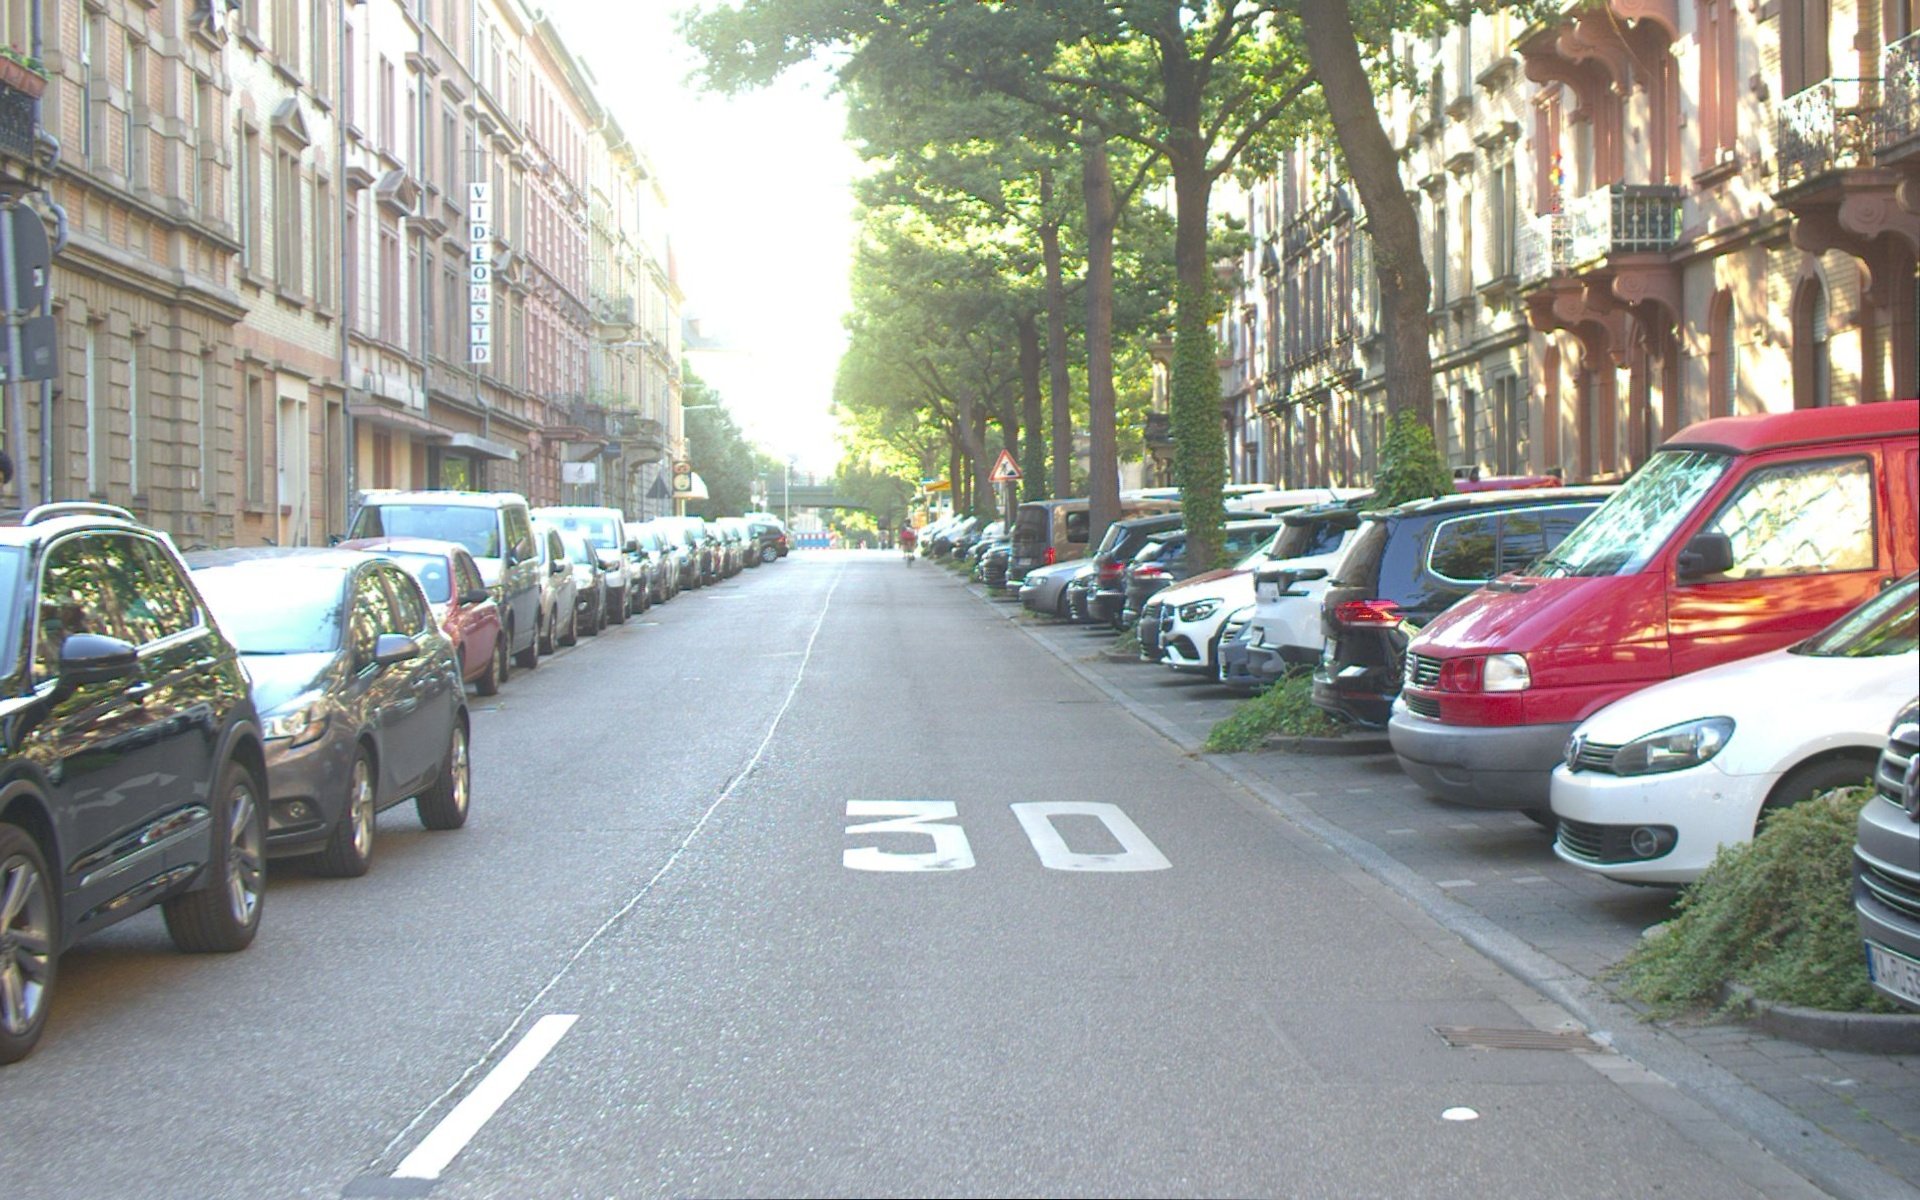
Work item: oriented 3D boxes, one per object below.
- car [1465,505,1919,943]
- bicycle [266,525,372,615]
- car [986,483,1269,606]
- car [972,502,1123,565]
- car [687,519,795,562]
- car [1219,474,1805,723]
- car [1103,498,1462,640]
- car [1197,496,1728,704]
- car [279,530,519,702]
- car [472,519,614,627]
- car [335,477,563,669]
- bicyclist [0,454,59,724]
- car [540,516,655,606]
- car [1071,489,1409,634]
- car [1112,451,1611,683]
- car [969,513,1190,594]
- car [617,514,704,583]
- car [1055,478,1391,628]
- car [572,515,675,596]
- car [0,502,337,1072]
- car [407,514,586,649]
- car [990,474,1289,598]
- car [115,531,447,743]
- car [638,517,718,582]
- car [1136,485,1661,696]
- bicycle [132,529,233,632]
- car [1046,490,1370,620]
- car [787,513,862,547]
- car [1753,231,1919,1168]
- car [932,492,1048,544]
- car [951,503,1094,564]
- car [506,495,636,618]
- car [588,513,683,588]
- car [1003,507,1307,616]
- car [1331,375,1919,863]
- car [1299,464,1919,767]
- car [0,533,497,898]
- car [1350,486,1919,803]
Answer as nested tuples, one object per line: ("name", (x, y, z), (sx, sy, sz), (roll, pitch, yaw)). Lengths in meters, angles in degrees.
("car", (4.169, 0.368, 13.310), (4.054, 1.505, 1.879), (-3, 1, -2))
("bicycle", (-9.787, -0.486, 52.659), (1.041, 1.314, 4.001), (0, 2, -2))
("car", (2.760, -0.930, 56.803), (4.220, 1.788, 1.835), (-3, 2, -21))
("car", (2.417, -1.852, 95.449), (3.849, 1.568, 1.718), (-3, 2, -9))
("car", (-7.948, -2.162, 125.160), (1.997, 1.481, 3.993), (-1, 0, 31))
("car", (4.098, -0.027, 25.944), (4.010, 1.622, 1.805), (-3, 1, -3))
("car", (3.793, -0.376, 40.898), (4.010, 1.462, 1.734), (-3, 1, -2))
("car", (4.087, -0.017, 28.398), (4.010, 1.429, 1.795), (-3, 1, -2))
("car", (-5.176, 0.108, 32.088), (1.592, 1.470, 3.699), (1, 1, 0))
("car", (-6.028, -0.423, 50.076), (1.758, 1.462, 4.001), (1, 1, -3))
("car", (-5.526, -0.338, 37.749), (1.832, 1.936, 5.261), (1, 1, -2))
("bicyclist", (-6.842, -0.063, 22.945), (0.997, 1.783, 1.206), (-1, 2, 28))
("car", (-6.282, -0.715, 59.959), (1.758, 1.468, 4.060), (-1, 2, -3))
("car", (3.487, -0.491, 43.275), (4.010, 1.601, 1.734), (-3, 1, -2))
("car", (3.840, -0.357, 33.324), (4.443, 1.917, 1.850), (-4, 3, -4))
("car", (2.186, -0.865, 63.415), (3.849, 1.289, 1.718), (-3, 2, -5))
("car", (-6.698, -1.173, 77.174), (1.758, 1.468, 4.060), (-1, 2, -3))
("car", (3.491, -0.646, 46.122), (4.220, 1.770, 1.835), (-3, 2, -2))
("car", (-6.431, -0.877, 66.058), (1.758, 1.468, 4.060), (-1, 2, -3))
("car", (-3.497, 0.497, 11.484), (1.758, 1.594, 4.550), (-1, 1, 3))
("car", (-5.808, -0.275, 43.522), (1.753, 1.603, 4.384), (1, 1, -1))
("car", (3.130, -1.137, 60.568), (5.056, 1.918, 1.835), (-3, 2, -1))
("car", (-5.325, 0.232, 27.465), (1.758, 1.496, 4.060), (-2, 1, 1))
("car", (-6.698, -1.227, 81.946), (1.758, 1.468, 4.060), (-1, 2, -3))
("car", (3.861, -0.115, 30.765), (4.344, 1.551, 1.850), (-3, 3, -2))
("bicycle", (-9.846, -0.270, 43.635), (0.740, 1.251, 2.827), (0, 2, -2))
("car", (3.493, -0.654, 48.829), (4.220, 1.605, 1.836), (-3, 2, -9))
("car", (-7.645, -3.951, 193.775), (3.988, 1.853, 1.751), (0, 1, 7))
("car", (4.751, 0.205, 8.615), (5.021, 2.207, 1.993), (-1, 1, -2))
("car", (1.011, -2.813, 117.800), (3.850, 1.568, 1.718), (-3, 2, -2))
("car", (1.816, -1.950, 100.082), (3.849, 1.568, 1.718), (-3, 2, -9))
("car", (-6.171, -0.728, 54.905), (1.758, 1.835, 4.530), (-1, 2, -3))
("car", (-6.669, -1.040, 70.921), (1.758, 1.468, 4.060), (-1, 2, -3))
("car", (2.869, -0.587, 51.194), (4.220, 1.398, 1.835), (-3, 2, -6))
("car", (4.259, 0.008, 16.060), (4.674, 2.026, 1.879), (-3, 1, -4))
("car", (4.277, 0.061, 21.094), (4.186, 1.622, 1.837), (-3, 1, 2))
("car", (-3.476, 0.458, 16.688), (1.758, 1.496, 4.060), (-2, 1, 2))
("car", (4.584, 0.169, 18.646), (4.675, 1.509, 1.879), (-3, 1, 1))
